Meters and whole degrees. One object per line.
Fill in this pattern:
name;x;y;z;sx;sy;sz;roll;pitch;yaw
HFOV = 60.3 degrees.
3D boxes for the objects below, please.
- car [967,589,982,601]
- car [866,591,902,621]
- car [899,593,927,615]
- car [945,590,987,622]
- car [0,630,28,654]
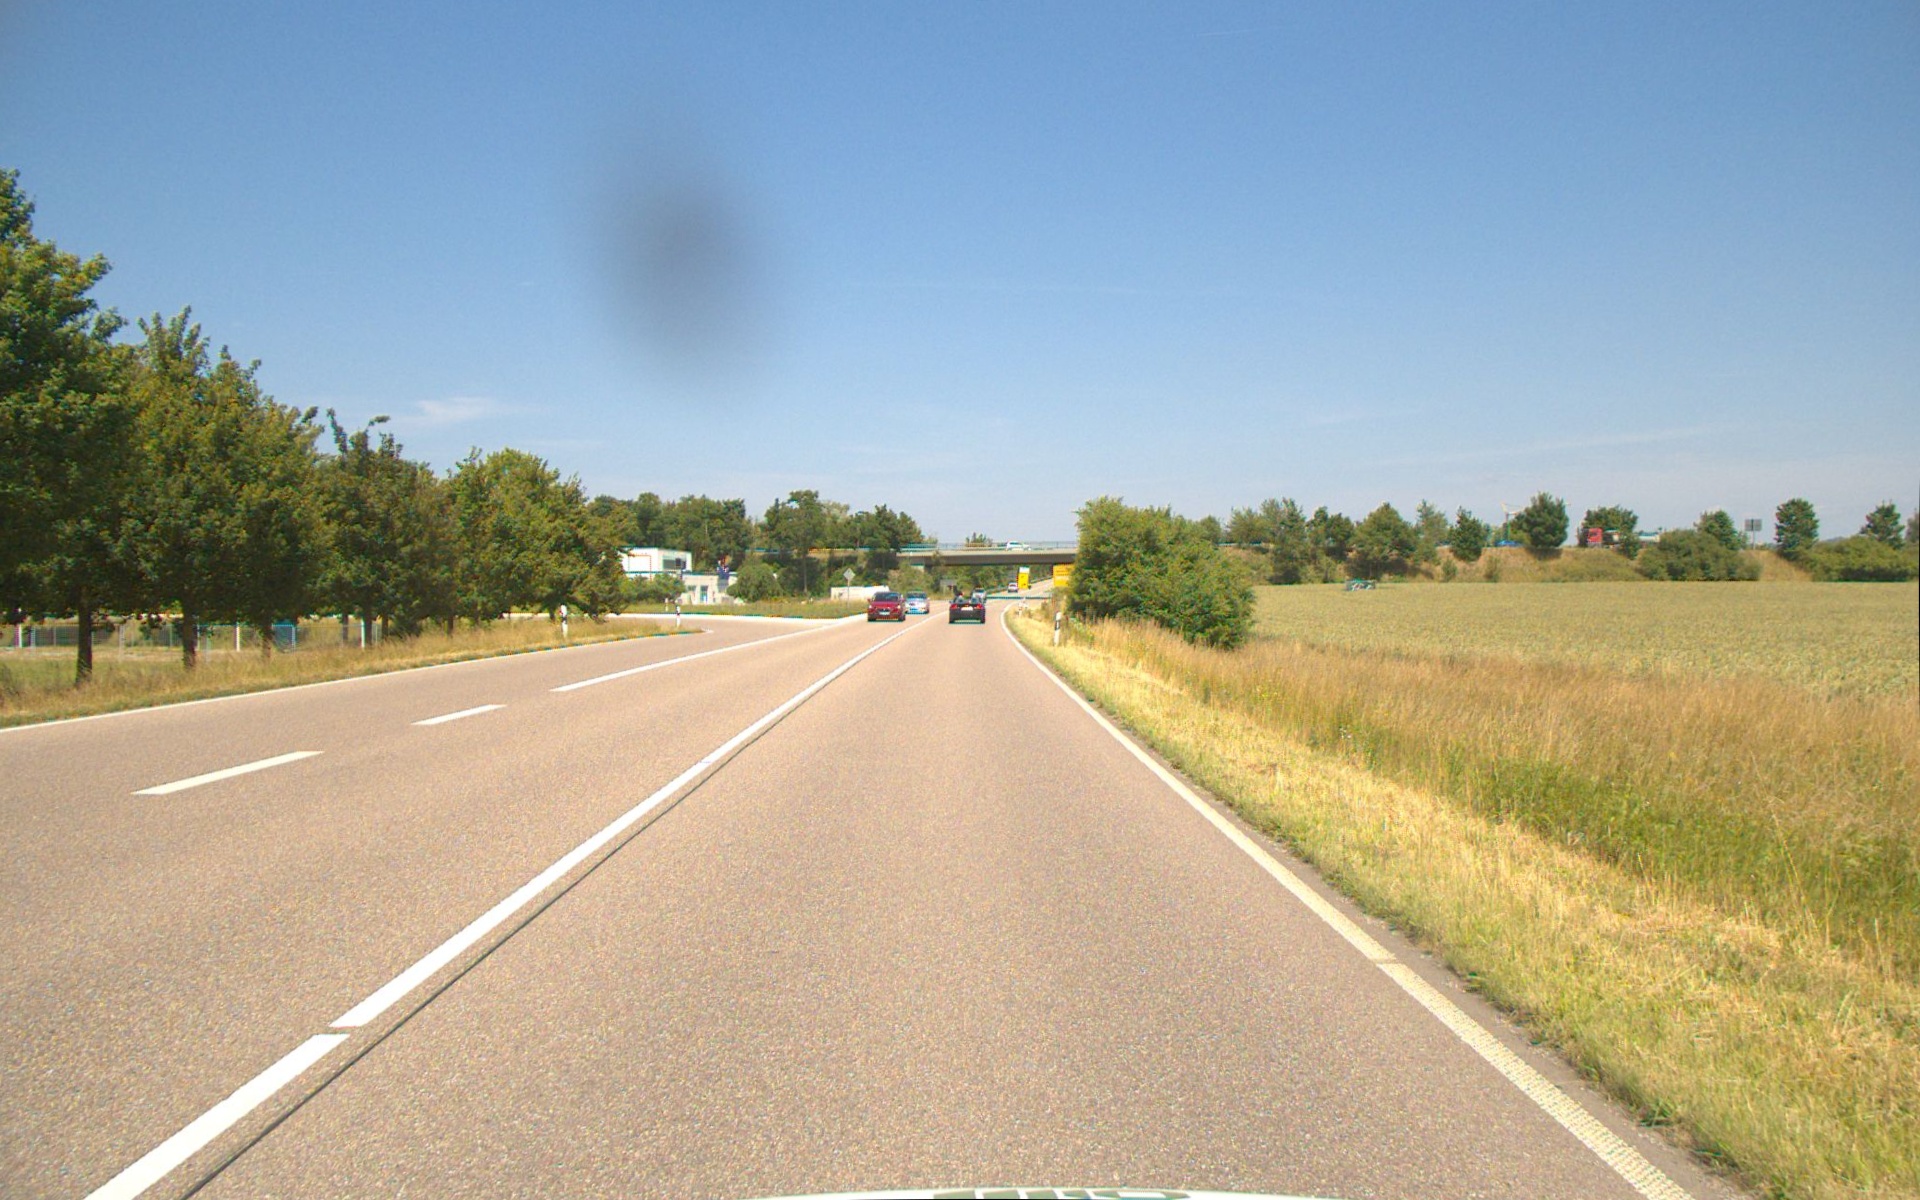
car;1.955;-0.644;224.262;1.794;1.595;3.333;1;-1;-1
car;-3.784;0.293;82.901;1.707;1.436;4.623;1;0;-1
car;-3.077;0.253;109.099;1.696;1.415;4.491;1;0;0
car;0.274;0.271;79.339;1.778;1.466;3.998;1;0;-3
car;-58.522;2.561;99.409;1.954;1.418;3.996;-1;0;26
